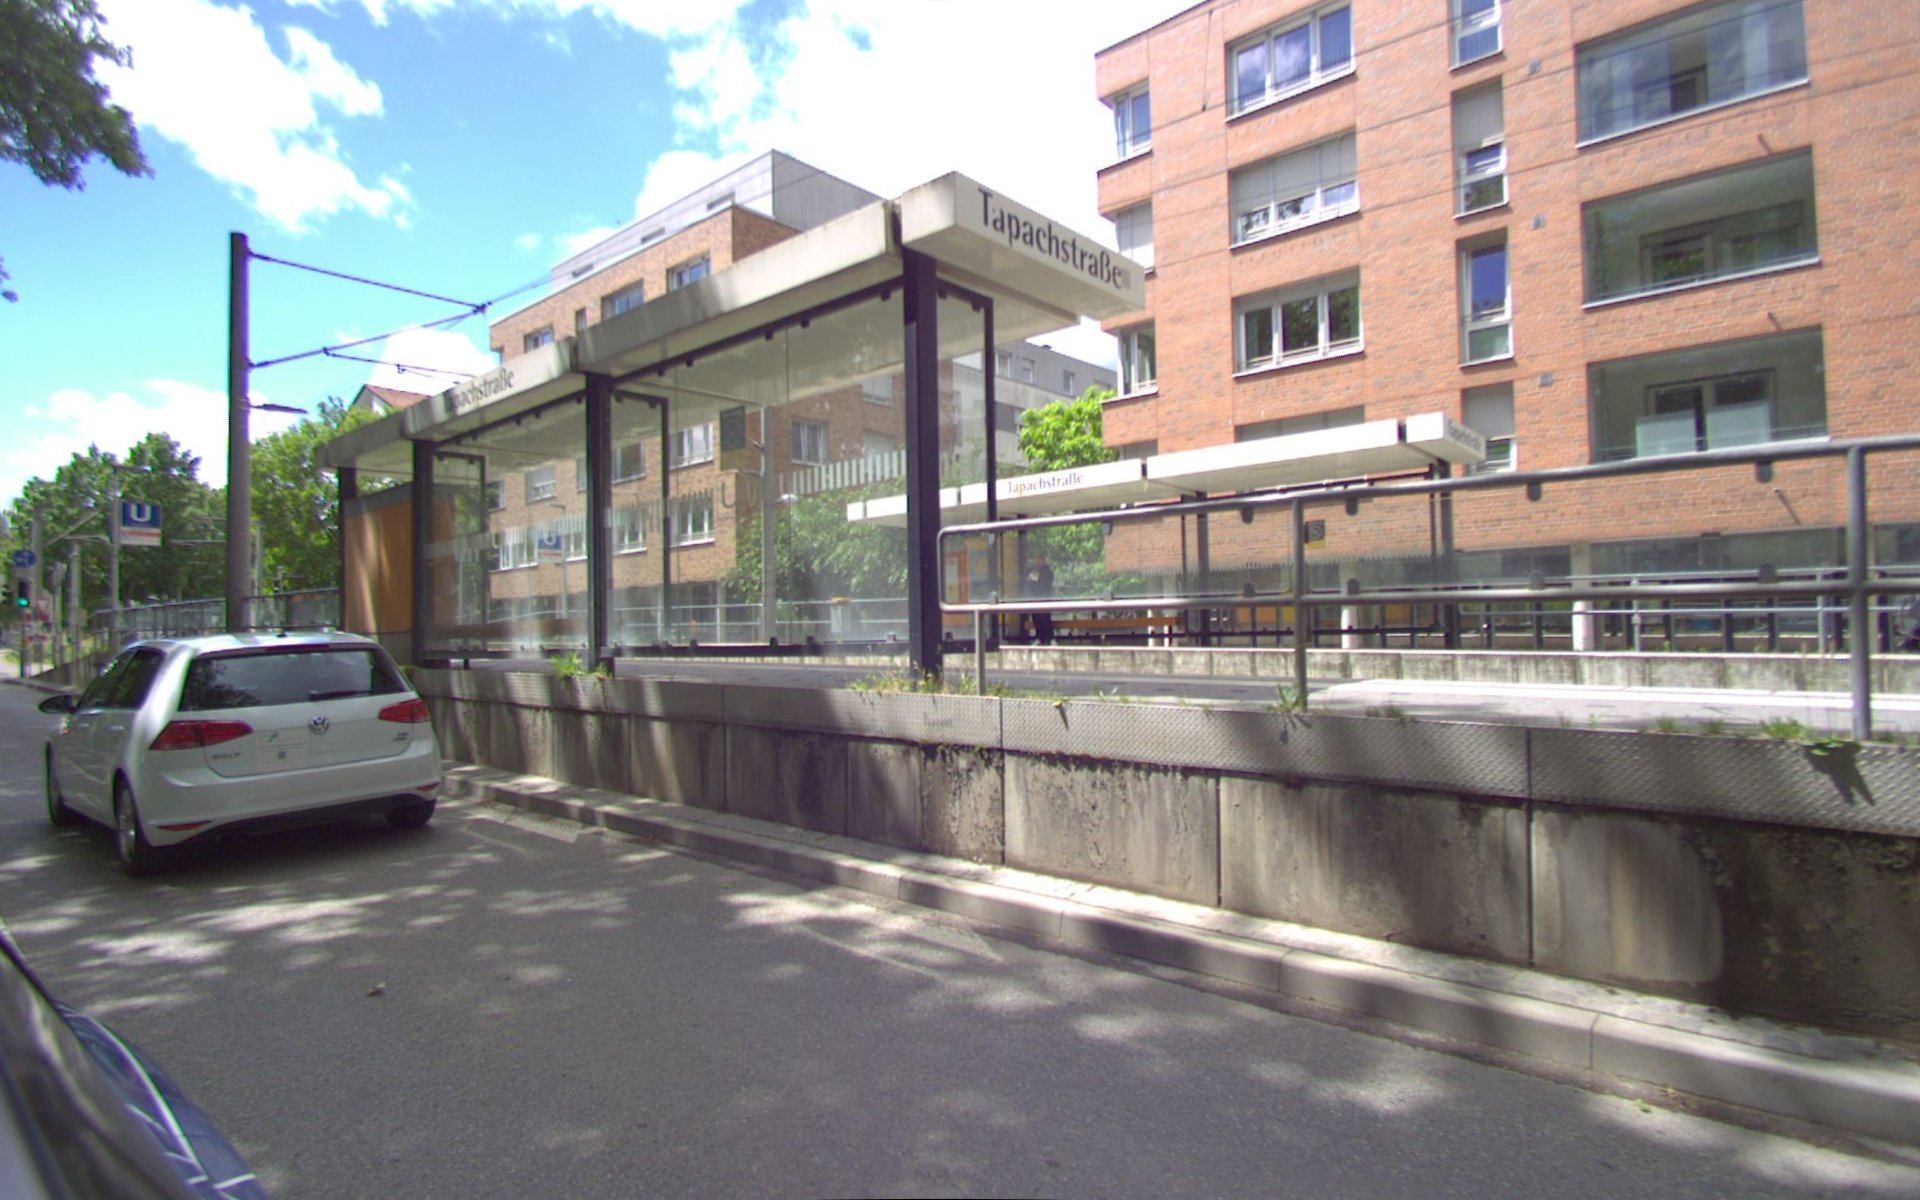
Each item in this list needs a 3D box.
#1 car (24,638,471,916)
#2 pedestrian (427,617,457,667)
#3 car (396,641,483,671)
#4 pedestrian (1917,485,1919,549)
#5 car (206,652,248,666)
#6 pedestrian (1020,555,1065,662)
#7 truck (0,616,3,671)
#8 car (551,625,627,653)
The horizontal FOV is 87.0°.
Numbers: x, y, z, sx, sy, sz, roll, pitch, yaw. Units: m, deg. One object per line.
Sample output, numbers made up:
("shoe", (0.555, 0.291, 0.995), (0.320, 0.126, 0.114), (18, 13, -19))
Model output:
("car", (-5.262, 1.031, 7.300), (3.748, 1.406, 1.715), (-2, 0, 40))
("pedestrian", (-19.431, 1.559, 37.933), (0.828, 1.839, 0.736), (-4, -3, 40))
("car", (-26.603, 2.890, 51.792), (1.588, 1.488, 3.632), (-3, -5, 43))
("pedestrian", (9.383, -0.274, 9.261), (0.815, 1.641, 0.743), (-3, -2, 41))
("car", (-80.885, 6.526, 111.647), (4.091, 1.535, 1.797), (-2, -3, 19))
("pedestrian", (1.404, 0.157, 17.143), (0.527, 1.777, 0.529), (-3, -3, 38))
("truck", (-76.582, 3.233, 73.798), (2.623, 4.125, 9.502), (-2, -3, 32))
("car", (-19.718, 2.079, 53.921), (1.592, 1.410, 3.496), (-3, -3, 38))
